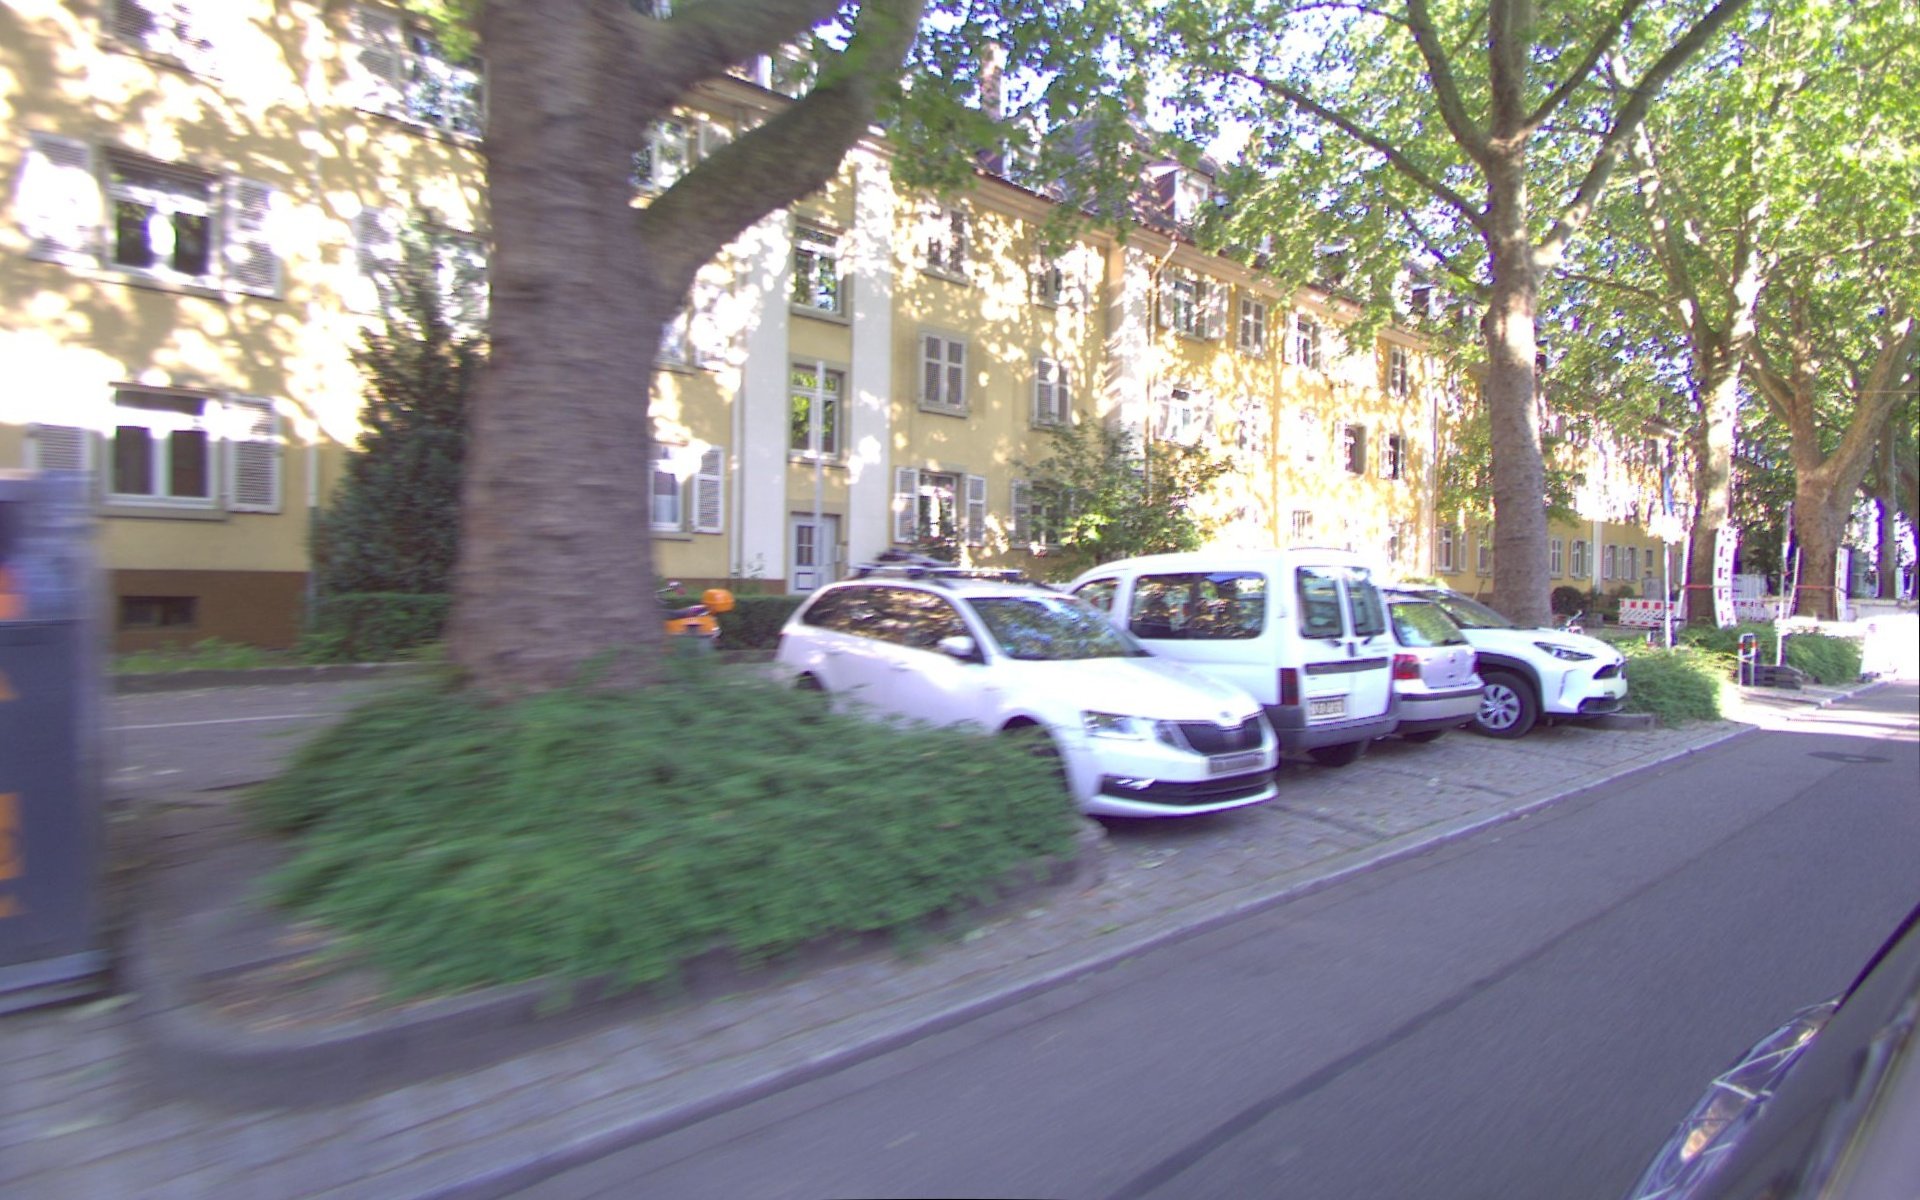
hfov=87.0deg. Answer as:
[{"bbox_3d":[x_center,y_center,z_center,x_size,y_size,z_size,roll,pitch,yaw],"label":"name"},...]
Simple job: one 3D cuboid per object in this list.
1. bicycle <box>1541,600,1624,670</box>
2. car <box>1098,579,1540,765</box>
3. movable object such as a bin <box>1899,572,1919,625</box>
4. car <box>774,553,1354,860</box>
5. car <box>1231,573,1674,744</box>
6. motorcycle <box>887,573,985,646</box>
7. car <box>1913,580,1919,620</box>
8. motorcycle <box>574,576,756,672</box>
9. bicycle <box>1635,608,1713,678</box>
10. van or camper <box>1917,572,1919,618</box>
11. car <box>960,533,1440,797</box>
[{"bbox_3d":[11.100,0.591,18.035,1.914,1.168,0.692,0,1,-41],"label":"bicycle"},{"bbox_3d":[3.391,0.540,10.201,1.817,1.450,3.856,0,1,-36],"label":"car"},{"bbox_3d":[43.260,-0.065,44.207,3.210,2.297,1.488,1,1,-6],"label":"movable object such as a bin"},{"bbox_3d":[0.407,0.494,7.451,1.767,1.561,4.385,1,1,-36],"label":"car"},{"bbox_3d":[5.347,0.477,11.410,1.883,1.540,4.095,-1,2,-41],"label":"car"},{"bbox_3d":[-0.473,0.140,18.717,0.701,1.265,1.993,0,1,-41],"label":"motorcycle"},{"bbox_3d":[51.035,0.097,50.472,2.027,2.038,4.845,1,1,-40],"label":"car"},{"bbox_3d":[-3.889,0.282,13.483,2.224,1.167,0.717,0,2,-41],"label":"motorcycle"},{"bbox_3d":[11.918,0.688,16.879,1.777,1.084,0.636,0,1,-41],"label":"bicycle"},{"bbox_3d":[58.008,-0.207,56.817,2.229,2.661,5.942,-1,2,-38],"label":"van or camper"},{"bbox_3d":[1.893,0.390,8.990,1.881,1.794,3.856,0,1,-36],"label":"car"}]
